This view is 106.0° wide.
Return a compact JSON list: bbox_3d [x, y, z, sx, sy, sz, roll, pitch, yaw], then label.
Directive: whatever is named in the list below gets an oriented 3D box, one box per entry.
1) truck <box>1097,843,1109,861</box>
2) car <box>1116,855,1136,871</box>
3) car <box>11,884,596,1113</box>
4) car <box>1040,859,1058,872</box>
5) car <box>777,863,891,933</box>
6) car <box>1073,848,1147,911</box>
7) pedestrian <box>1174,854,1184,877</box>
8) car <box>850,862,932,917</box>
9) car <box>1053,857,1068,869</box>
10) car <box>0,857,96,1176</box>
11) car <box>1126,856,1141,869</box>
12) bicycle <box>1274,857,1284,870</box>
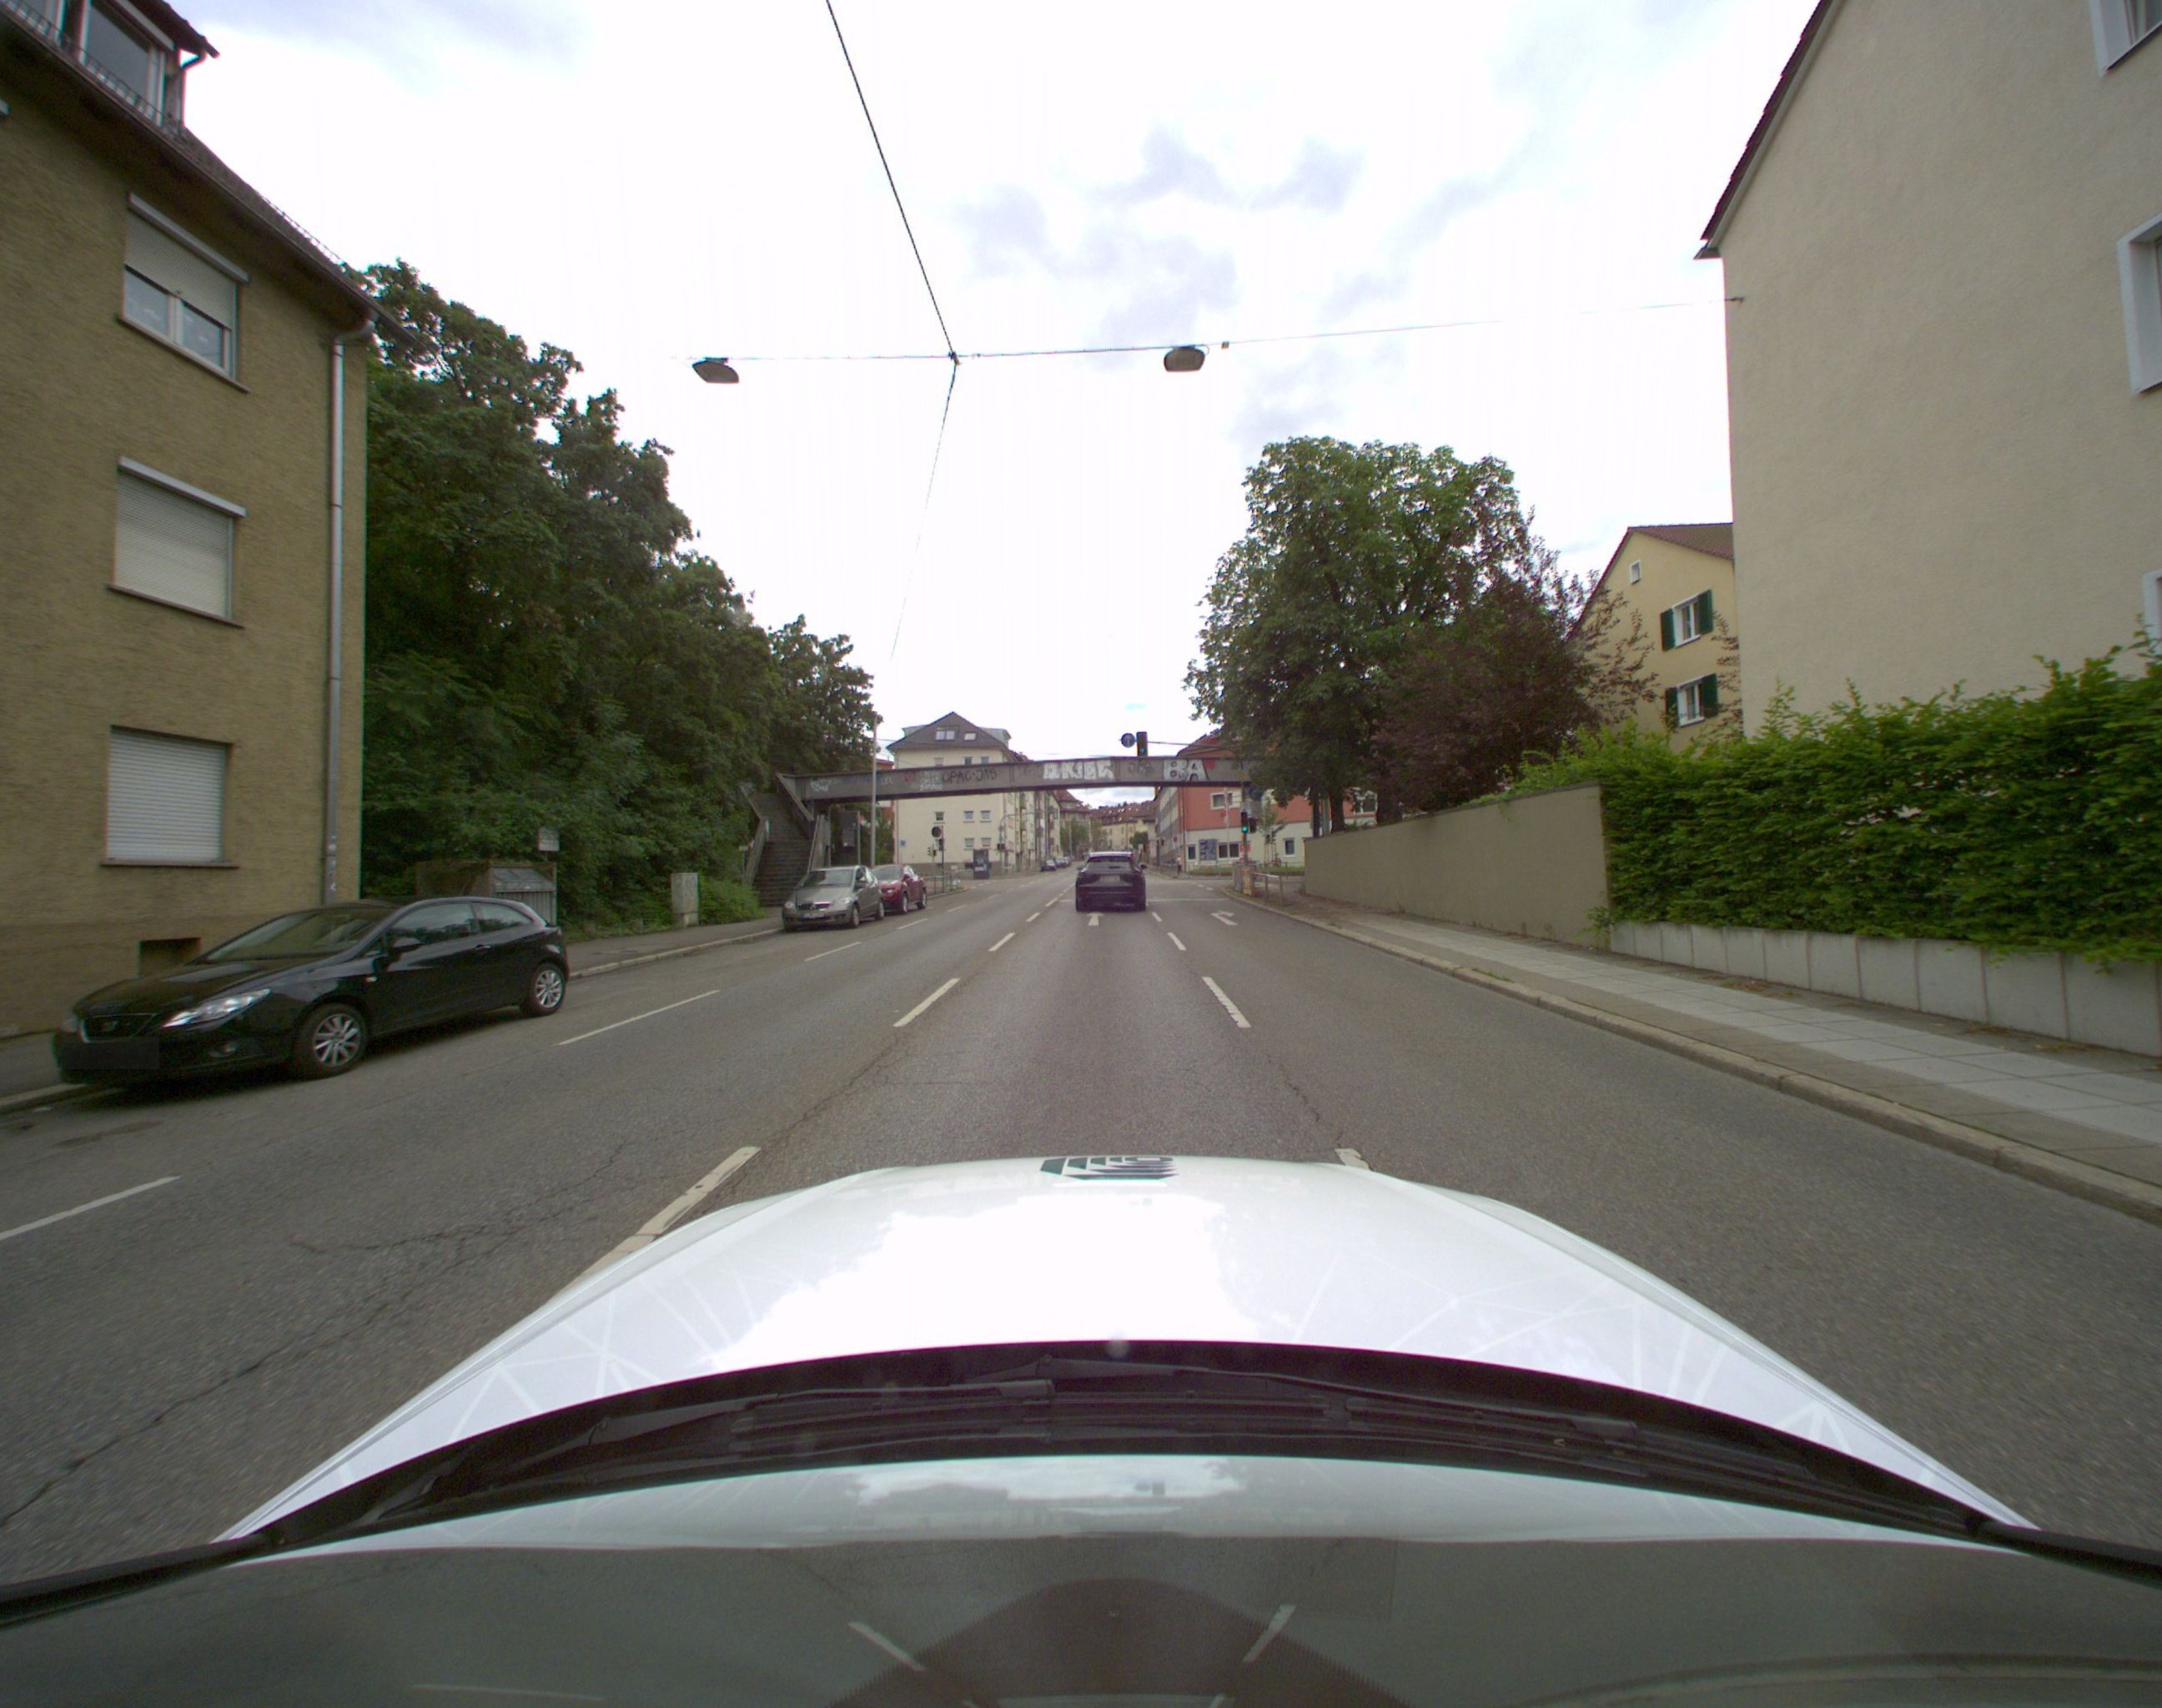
[{"bbox_3d":[4.565,-0.386,165.337,2.258,3.424,9.881,-2,0,2],"label":"truck"},{"bbox_3d":[4.155,0.828,75.044,1.734,1.400,4.002,-1,1,2],"label":"car"},{"bbox_3d":[-6.802,1.118,7.853,1.739,1.439,3.914,-3,0,2],"label":"car"},{"bbox_3d":[-3.891,1.367,99.155,1.758,1.508,4.003,-2,0,2],"label":"car"},{"bbox_3d":[-6.401,1.090,21.576,1.740,1.568,3.907,-3,0,0],"label":"car"},{"bbox_3d":[0.872,0.686,24.090,1.986,1.662,4.002,-1,1,2],"label":"car"},{"bbox_3d":[7.781,0.883,64.478,0.650,1.792,0.714,-1,0,-1],"label":"pedestrian"},{"bbox_3d":[-6.052,1.082,26.358,1.528,1.540,3.984,-3,0,2],"label":"car"},{"bbox_3d":[-2.852,1.247,115.756,1.758,1.650,4.003,-2,0,2],"label":"car"},{"bbox_3d":[-6.929,0.939,2.642,1.770,1.754,4.559,-3,0,2],"label":"car"},{"bbox_3d":[6.313,0.991,98.864,1.734,1.400,4.002,-1,1,2],"label":"car"},{"bbox_3d":[14.252,0.708,58.555,0.337,0.903,1.754,-1,-1,25],"label":"bicycle"}]
